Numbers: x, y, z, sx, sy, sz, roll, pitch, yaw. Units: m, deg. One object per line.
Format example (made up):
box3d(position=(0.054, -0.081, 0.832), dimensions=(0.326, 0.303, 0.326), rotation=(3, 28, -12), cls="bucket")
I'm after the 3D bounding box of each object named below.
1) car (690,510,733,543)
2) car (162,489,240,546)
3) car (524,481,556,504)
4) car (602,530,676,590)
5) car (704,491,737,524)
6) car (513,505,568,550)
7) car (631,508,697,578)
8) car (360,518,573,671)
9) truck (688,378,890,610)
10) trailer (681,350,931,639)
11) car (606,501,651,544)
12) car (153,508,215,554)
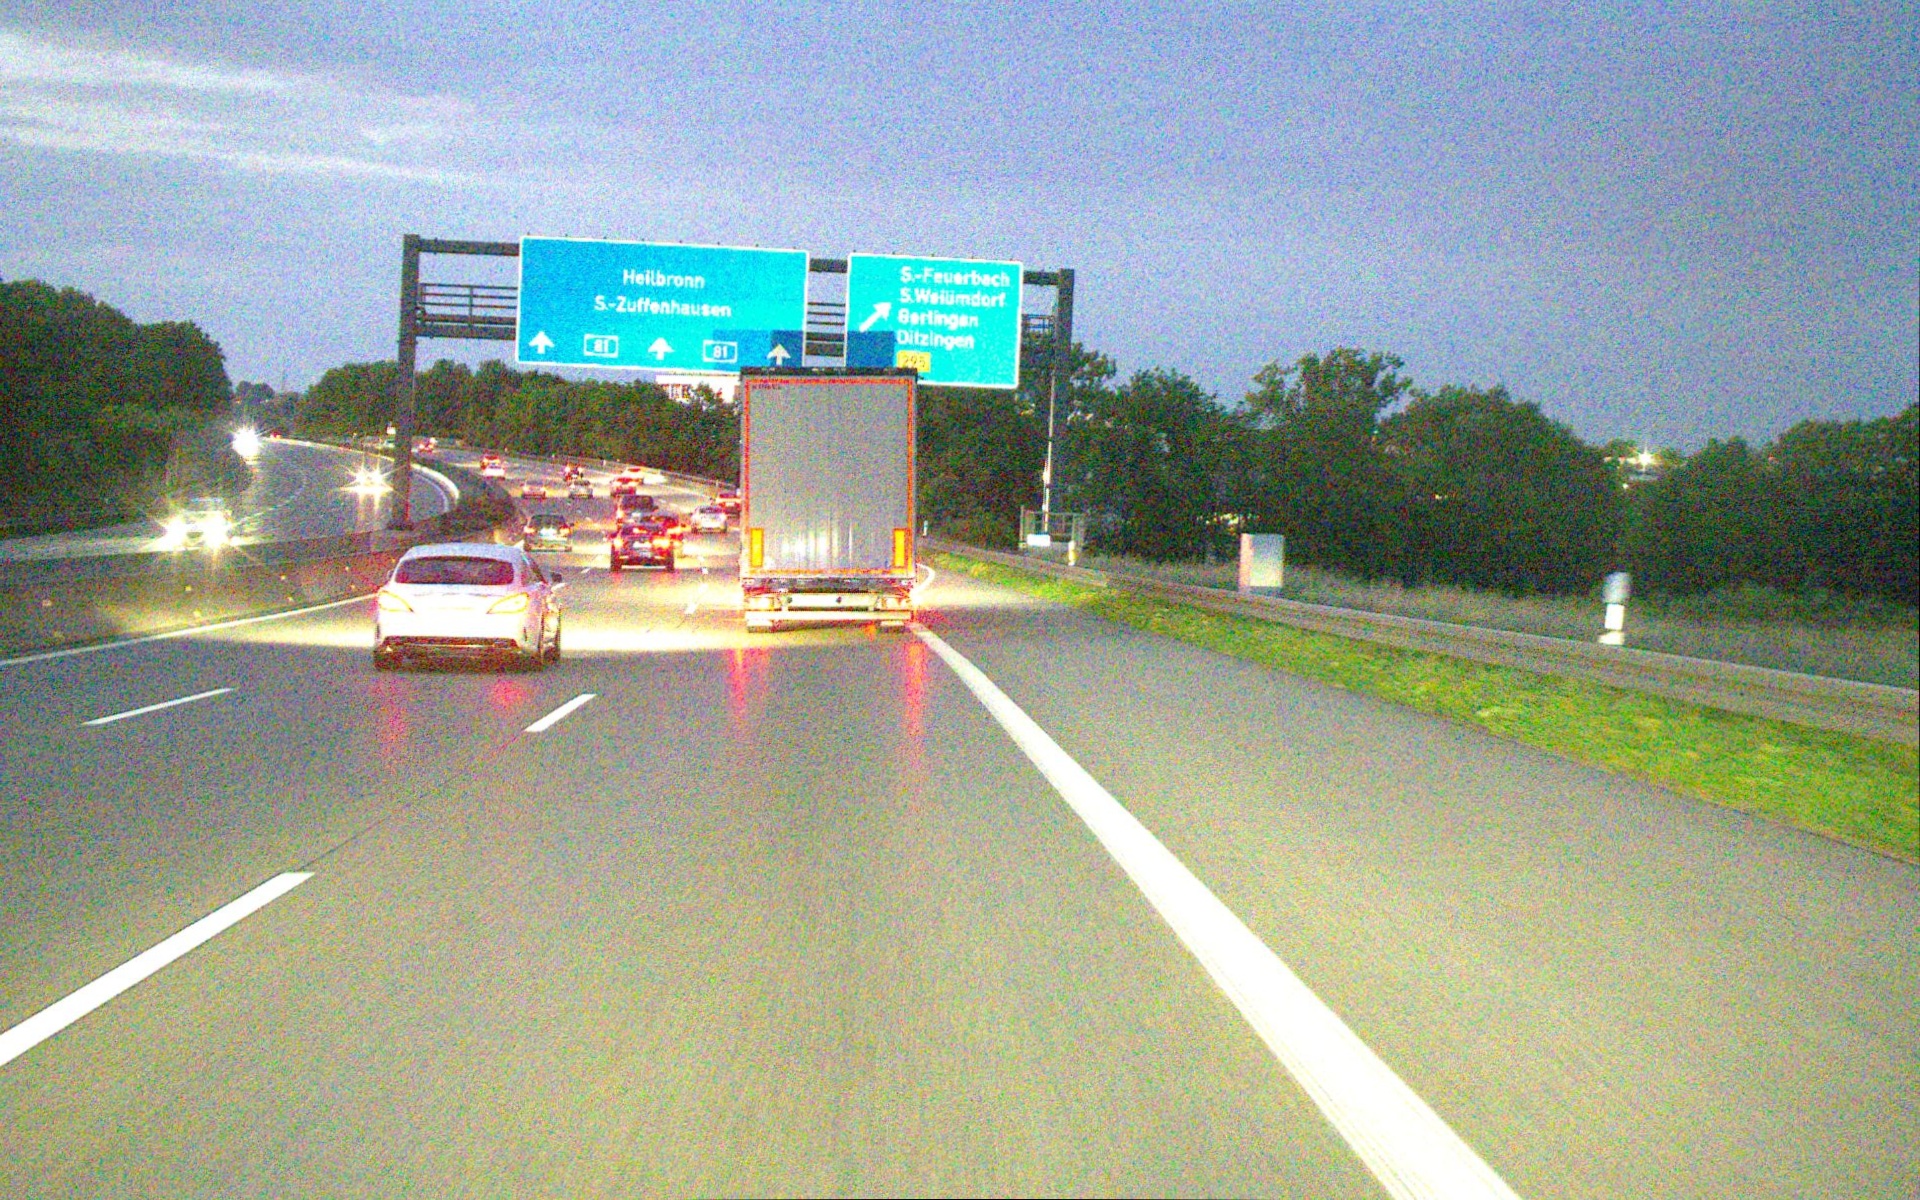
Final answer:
box3d(position=(-12.619, -3.723, 174.677), dimensions=(1.993, 1.529, 4.000), rotation=(2, 0, -2), cls="car")
box3d(position=(-26.986, -2.909, 122.352), dimensions=(1.875, 1.887, 5.058), rotation=(2, 0, -3), cls="car")
box3d(position=(-31.733, -8.100, 259.664), dimensions=(1.993, 1.616, 4.000), rotation=(2, 0, -2), cls="car")
box3d(position=(-9.509, -1.166, 102.249), dimensions=(2.065, 1.680, 4.577), rotation=(2, 0, -4), cls="car")
box3d(position=(-15.172, -5.838, 217.641), dimensions=(1.993, 1.971, 4.000), rotation=(2, 0, -4), cls="car")
box3d(position=(-15.940, -2.751, 130.748), dimensions=(1.761, 1.569, 4.577), rotation=(2, 0, -3), cls="car")
box3d(position=(-10.440, -1.999, 121.088), dimensions=(1.993, 2.372, 4.001), rotation=(2, 0, -9), cls="car")
box3d(position=(-5.626, -0.062, 39.715), dimensions=(1.906, 1.609, 4.804), rotation=(2, 0, -2), cls="car")
box3d(position=(-3.241, -1.954, 63.685), dimensions=(3.550, 4.077, 6.153), rotation=(0, 2, -4), cls="truck")
box3d(position=(-2.736, -1.736, 56.520), dimensions=(3.549, 4.102, 15.066), rotation=(0, 2, -4), cls="trailer")
box3d(position=(-16.390, -3.830, 170.019), dimensions=(1.993, 2.007, 4.000), rotation=(2, 0, -3), cls="car")
box3d(position=(-34.184, -3.043, 151.563), dimensions=(1.993, 1.887, 4.680), rotation=(2, 0, -5), cls="car")
